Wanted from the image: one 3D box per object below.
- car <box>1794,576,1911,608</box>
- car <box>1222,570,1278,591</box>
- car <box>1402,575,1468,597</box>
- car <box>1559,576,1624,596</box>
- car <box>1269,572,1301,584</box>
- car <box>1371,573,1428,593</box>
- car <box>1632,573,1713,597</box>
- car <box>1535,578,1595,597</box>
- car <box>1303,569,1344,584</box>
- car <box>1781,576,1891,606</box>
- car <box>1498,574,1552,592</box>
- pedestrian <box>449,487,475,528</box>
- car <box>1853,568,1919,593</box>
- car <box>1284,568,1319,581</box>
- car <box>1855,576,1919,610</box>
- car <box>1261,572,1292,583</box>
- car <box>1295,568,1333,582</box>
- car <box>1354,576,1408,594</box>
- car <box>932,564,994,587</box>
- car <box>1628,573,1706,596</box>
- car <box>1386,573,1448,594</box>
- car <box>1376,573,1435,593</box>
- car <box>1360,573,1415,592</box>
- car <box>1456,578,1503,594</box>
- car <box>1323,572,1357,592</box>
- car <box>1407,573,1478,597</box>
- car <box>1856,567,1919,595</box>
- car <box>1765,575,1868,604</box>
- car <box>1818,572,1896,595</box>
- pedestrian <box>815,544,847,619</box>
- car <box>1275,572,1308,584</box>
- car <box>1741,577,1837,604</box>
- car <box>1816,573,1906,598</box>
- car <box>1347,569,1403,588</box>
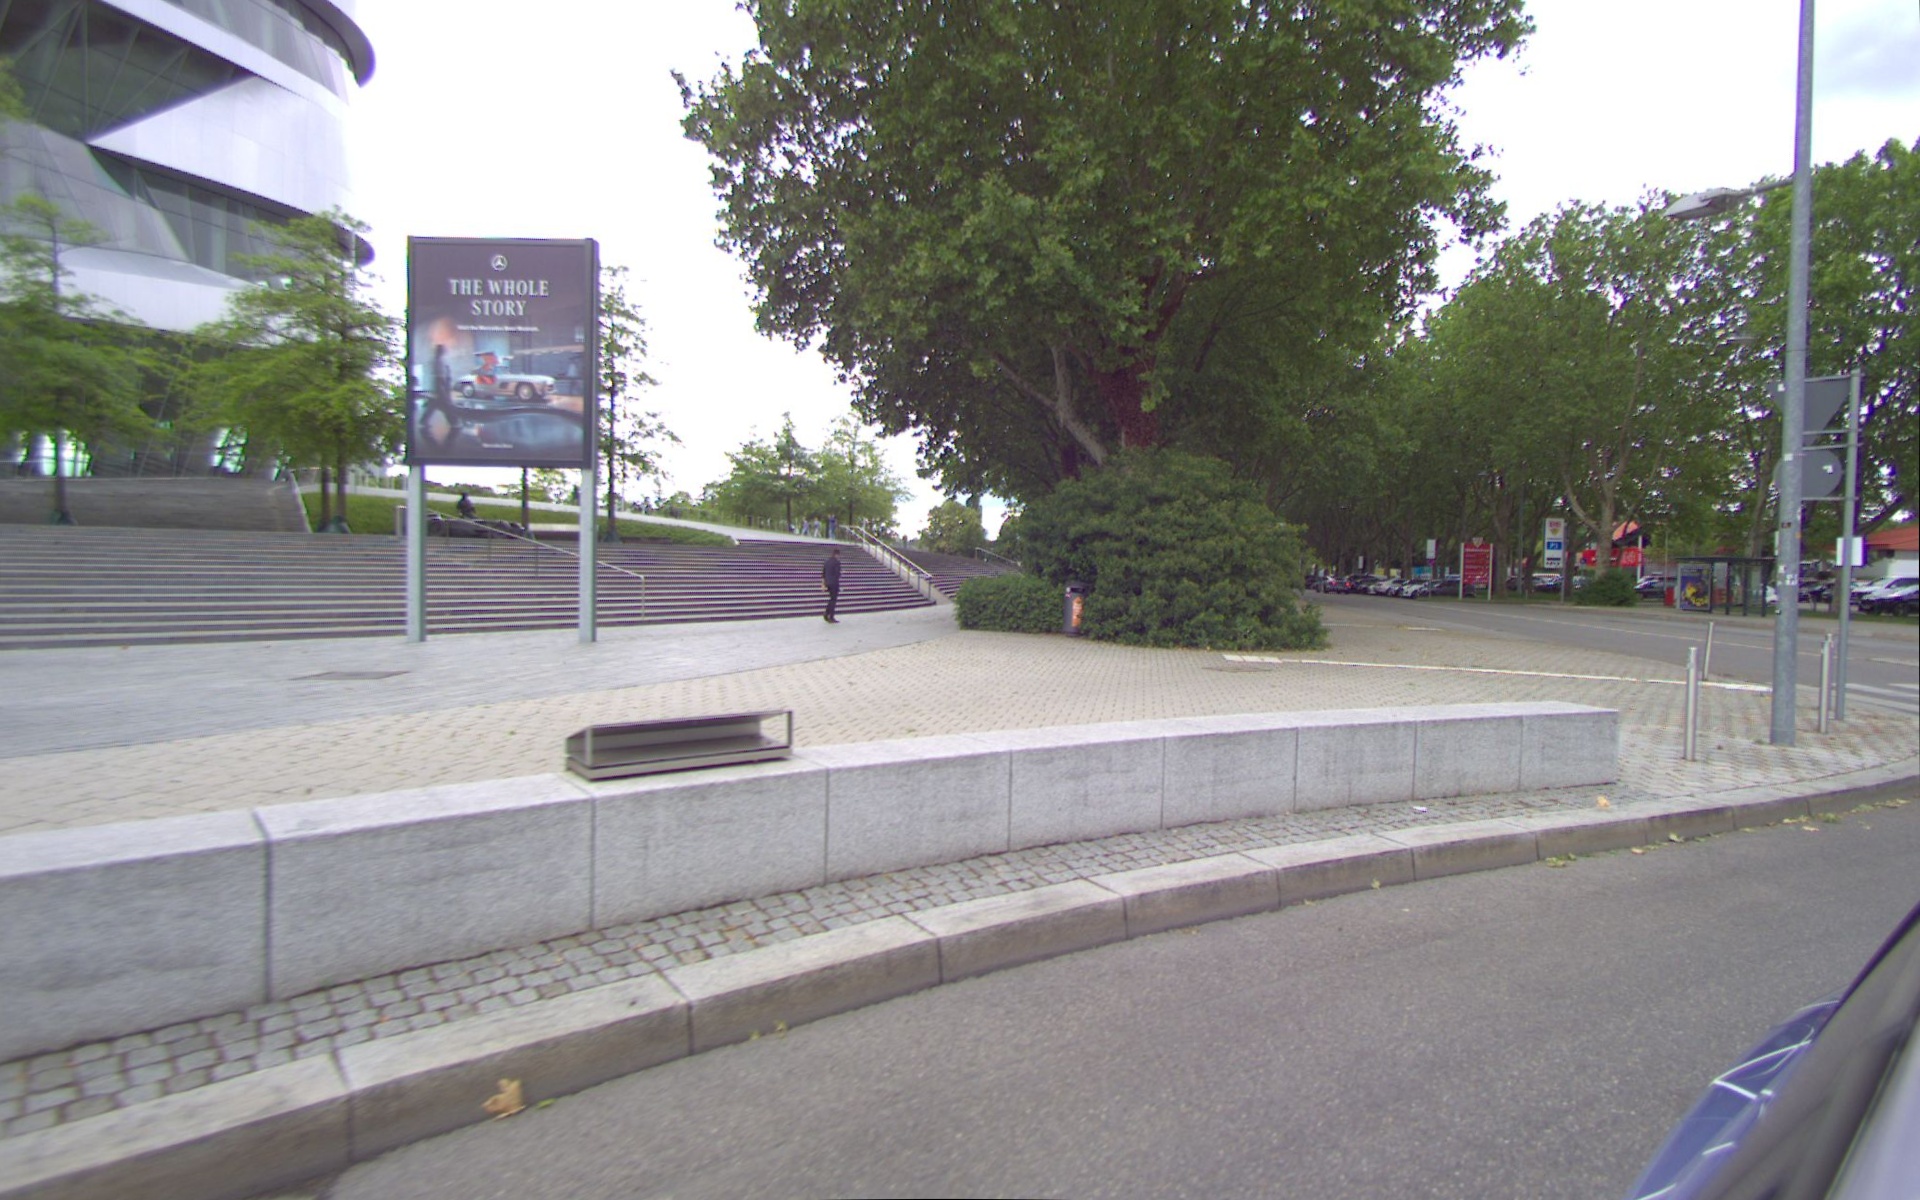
[{"bbox_3d":[44.748,-0.431,50.839,3.951,1.537,1.862,1,1,16],"label":"car"},{"bbox_3d":[21.896,-1.488,76.539,3.943,1.537,1.866,1,1,11],"label":"car"},{"bbox_3d":[33.456,-1.007,71.408,3.951,1.537,1.862,1,1,17],"label":"car"},{"bbox_3d":[49.222,-1.091,78.970,3.953,1.537,1.861,1,1,18],"label":"car"},{"bbox_3d":[42.626,-2.926,132.733,3.951,1.537,1.862,1,1,17],"label":"car"},{"bbox_3d":[35.213,-1.378,81.209,3.951,1.537,1.862,1,1,17],"label":"car"},{"bbox_3d":[47.040,-0.992,66.867,3.953,1.537,1.861,1,1,18],"label":"car"},{"bbox_3d":[50.908,-1.075,85.213,3.953,1.537,1.861,1,1,18],"label":"car"},{"bbox_3d":[38.698,-2.532,107.751,3.951,1.537,1.862,1,1,17],"label":"car"},{"bbox_3d":[46.522,-0.478,53.839,3.951,1.537,1.862,1,1,16],"label":"car"},{"bbox_3d":[51.428,-1.570,92.162,3.953,1.537,1.861,1,1,18],"label":"car"},{"bbox_3d":[-17.636,-3.270,35.852,0.774,1.404,0.684,0,1,-22],"label":"pedestrian"},{"bbox_3d":[69.101,-1.450,75.425,1.765,1.741,3.950,1,1,6],"label":"car"},{"bbox_3d":[41.540,-3.093,123.279,3.951,1.537,1.862,1,1,17],"label":"car"},{"bbox_3d":[44.604,-0.321,47.097,3.956,1.537,1.860,1,1,19],"label":"car"},{"bbox_3d":[43.866,-3.155,140.333,3.951,1.537,1.862,1,1,17],"label":"car"},{"bbox_3d":[40.544,-2.895,116.023,3.951,1.537,1.862,1,1,17],"label":"car"},{"bbox_3d":[35.601,-1.288,85.705,3.951,1.537,1.862,1,1,17],"label":"car"},{"bbox_3d":[0.196,-1.711,69.661,3.951,1.537,1.862,1,1,17],"label":"car"},{"bbox_3d":[48.225,-1.050,69.107,3.953,1.537,1.861,1,1,18],"label":"car"},{"bbox_3d":[34.263,-1.237,75.990,3.951,1.537,1.862,1,1,17],"label":"car"},{"bbox_3d":[34.642,-1.326,78.829,3.951,1.537,1.862,1,1,17],"label":"car"},{"bbox_3d":[35.171,-1.430,83.379,3.951,1.537,1.862,1,1,17],"label":"car"},{"bbox_3d":[53.740,-1.439,104.721,3.951,1.537,1.862,1,1,17],"label":"car"},{"bbox_3d":[30.720,-1.432,81.891,2.075,1.537,4.587,1,1,14],"label":"car"},{"bbox_3d":[32.995,-1.037,69.280,4.118,1.537,1.862,1,1,17],"label":"car"},{"bbox_3d":[58.327,-1.162,62.396,4.360,1.672,1.794,1,1,7],"label":"car"},{"bbox_3d":[48.012,-0.611,56.790,3.951,1.537,1.862,1,1,16],"label":"car"},{"bbox_3d":[64.949,-1.202,73.312,3.888,1.672,1.794,1,1,7],"label":"car"},{"bbox_3d":[-3.135,-0.449,24.580,0.584,1.784,0.555,0,1,-36],"label":"pedestrian"},{"bbox_3d":[42.023,-2.817,128.302,3.951,1.537,1.862,1,1,17],"label":"car"},{"bbox_3d":[48.948,-0.579,59.824,3.951,1.537,1.862,1,1,16],"label":"car"},{"bbox_3d":[58.303,-0.954,65.551,3.940,1.537,1.868,1,1,8],"label":"car"},{"bbox_3d":[37.473,-1.930,91.422,4.367,1.672,1.791,1,1,12],"label":"car"}]
